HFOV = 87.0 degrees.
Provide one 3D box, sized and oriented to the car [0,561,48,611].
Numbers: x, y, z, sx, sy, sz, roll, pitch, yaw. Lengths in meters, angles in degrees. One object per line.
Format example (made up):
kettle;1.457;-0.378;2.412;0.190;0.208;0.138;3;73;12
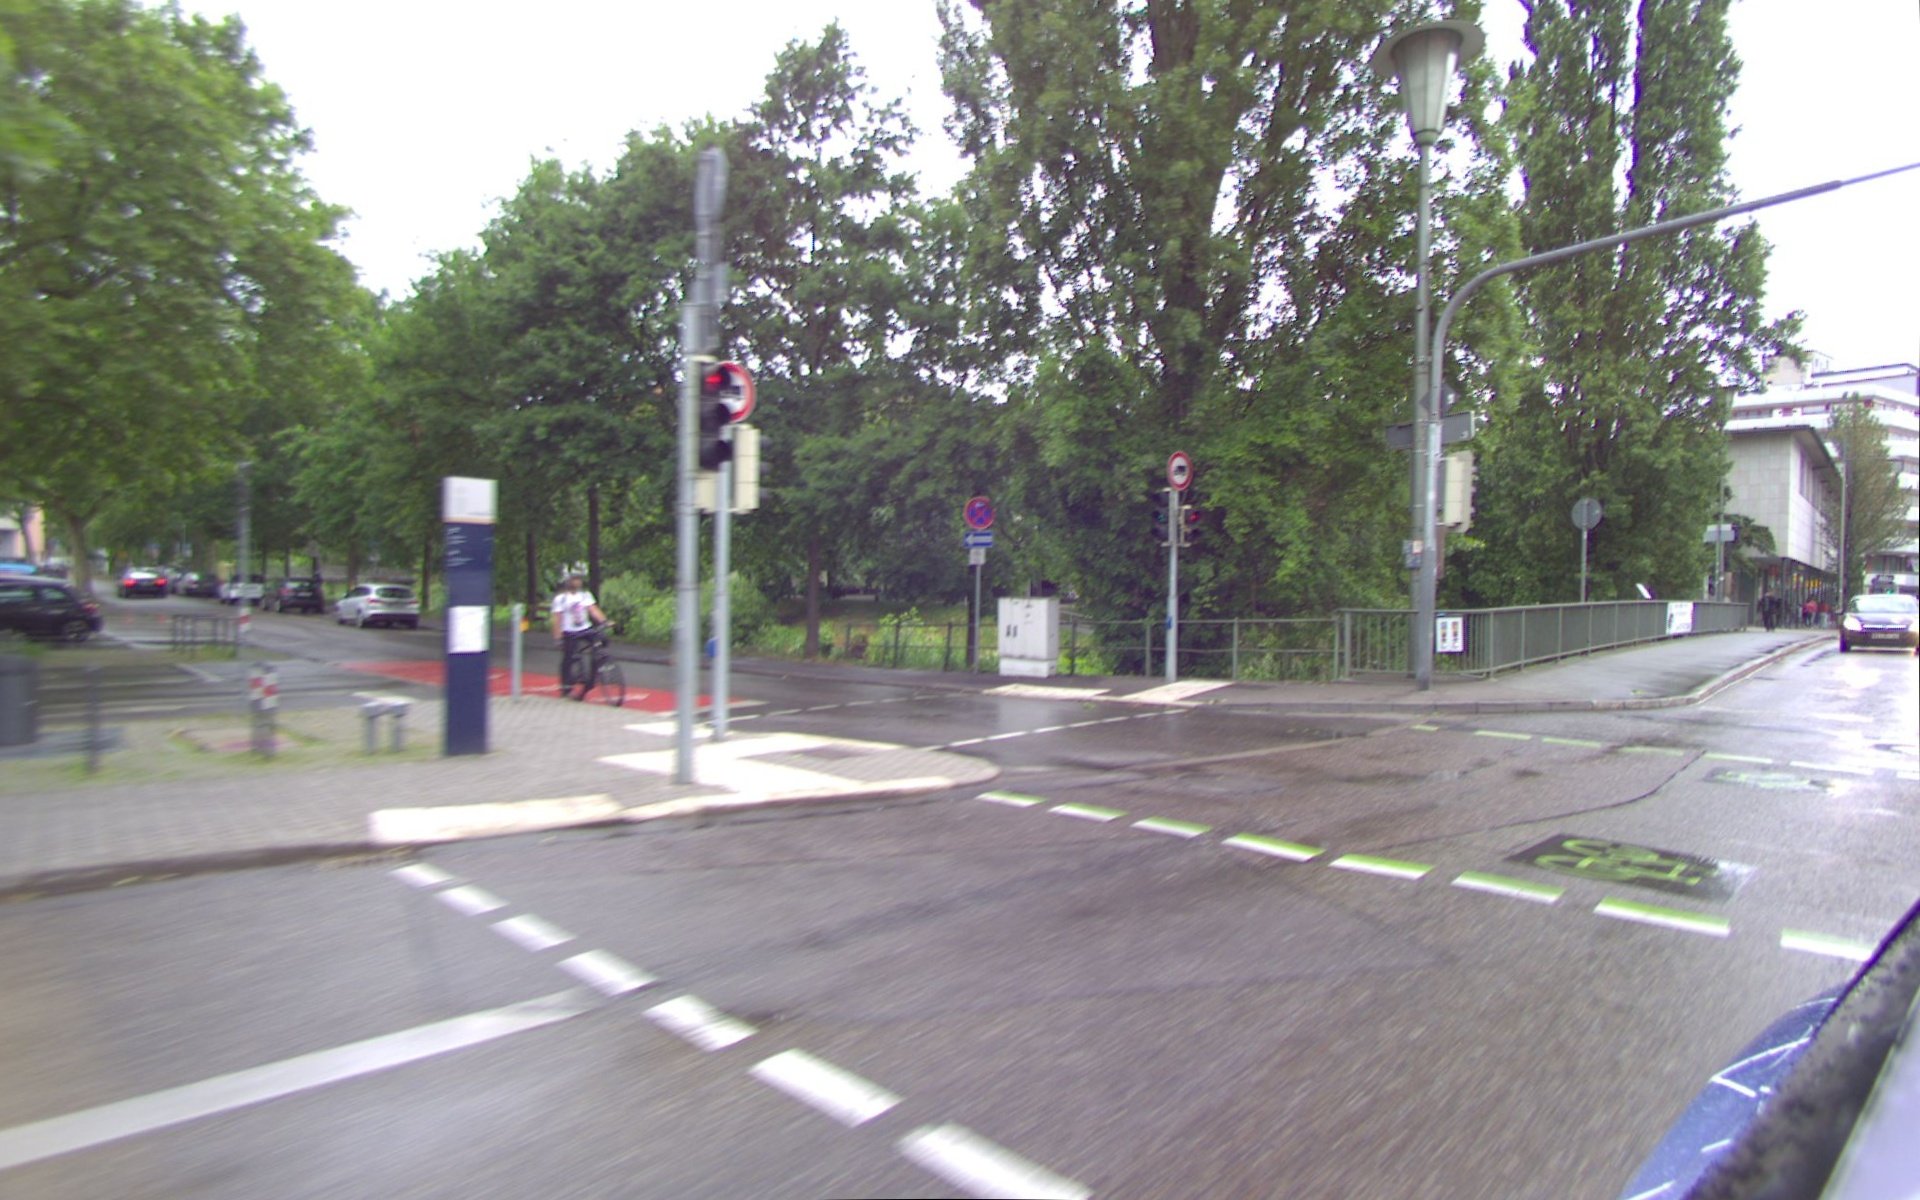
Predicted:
car;-35.005;-0.494;35.387;1.930;1.779;4.523;1;1;43

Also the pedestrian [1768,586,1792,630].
pedestrian;31.951;0.323;39.444;0.640;1.685;0.554;3;0;44

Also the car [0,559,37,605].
car;-38.297;-0.686;38.549;1.930;1.779;4.523;1;1;43

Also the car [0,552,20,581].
car;-59.681;-2.035;60.899;1.930;1.779;4.523;1;1;43

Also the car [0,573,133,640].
car;-23.494;0.140;25.464;1.799;1.610;3.956;1;1;41

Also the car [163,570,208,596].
car;-47.978;-1.067;62.656;1.965;1.566;3.994;0;1;-41

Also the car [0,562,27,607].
car;-40.212;-0.624;40.216;1.930;1.779;4.523;1;1;43

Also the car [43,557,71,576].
car;-77.042;-2.810;86.348;1.727;1.566;3.994;0;1;-41

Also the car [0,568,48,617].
car;-32.758;-0.256;33.364;1.799;1.607;3.845;1;1;41

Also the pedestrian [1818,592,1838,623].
pedestrian;46.897;0.419;54.669;0.717;1.640;0.757;4;2;44

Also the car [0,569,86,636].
car;-25.779;0.049;26.443;1.799;1.731;4.280;1;1;41

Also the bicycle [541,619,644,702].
bicycle;-5.404;0.855;14.813;1.942;1.137;0.512;-1;-1;40

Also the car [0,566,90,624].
car;-29.676;-0.174;31.108;1.799;1.731;4.280;1;1;41

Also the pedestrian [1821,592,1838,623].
pedestrian;51.524;0.438;59.967;0.698;1.824;0.597;4;2;44

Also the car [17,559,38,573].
car;-110.452;-4.014;119.853;1.727;1.566;3.994;0;1;-41

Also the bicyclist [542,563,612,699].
bicyclist;-5.595;0.438;14.789;0.641;1.911;0.742;-1;-1;38

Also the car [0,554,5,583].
car;-62.031;-1.952;62.407;1.930;1.779;4.523;1;1;43

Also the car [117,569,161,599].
car;-44.569;-0.888;54.906;1.727;1.566;3.994;0;1;-41

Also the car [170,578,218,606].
car;-43.947;-0.457;58.014;1.965;1.566;3.994;0;1;-41

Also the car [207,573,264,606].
car;-35.950;-0.519;50.204;1.965;1.566;3.994;0;1;-41

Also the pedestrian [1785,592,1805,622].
pedestrian;45.918;0.360;55.674;0.726;1.609;0.597;4;2;44

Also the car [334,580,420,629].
car;-20.086;0.120;34.788;1.858;1.566;3.994;0;1;-41

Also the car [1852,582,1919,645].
car;23.616;0.354;25.436;1.708;1.475;3.684;1;0;43

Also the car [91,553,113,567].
car;-99.823;-4.621;117.719;1.965;1.566;3.994;0;1;-41

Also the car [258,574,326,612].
car;-28.947;-0.311;43.799;1.965;1.566;3.994;0;1;-41
